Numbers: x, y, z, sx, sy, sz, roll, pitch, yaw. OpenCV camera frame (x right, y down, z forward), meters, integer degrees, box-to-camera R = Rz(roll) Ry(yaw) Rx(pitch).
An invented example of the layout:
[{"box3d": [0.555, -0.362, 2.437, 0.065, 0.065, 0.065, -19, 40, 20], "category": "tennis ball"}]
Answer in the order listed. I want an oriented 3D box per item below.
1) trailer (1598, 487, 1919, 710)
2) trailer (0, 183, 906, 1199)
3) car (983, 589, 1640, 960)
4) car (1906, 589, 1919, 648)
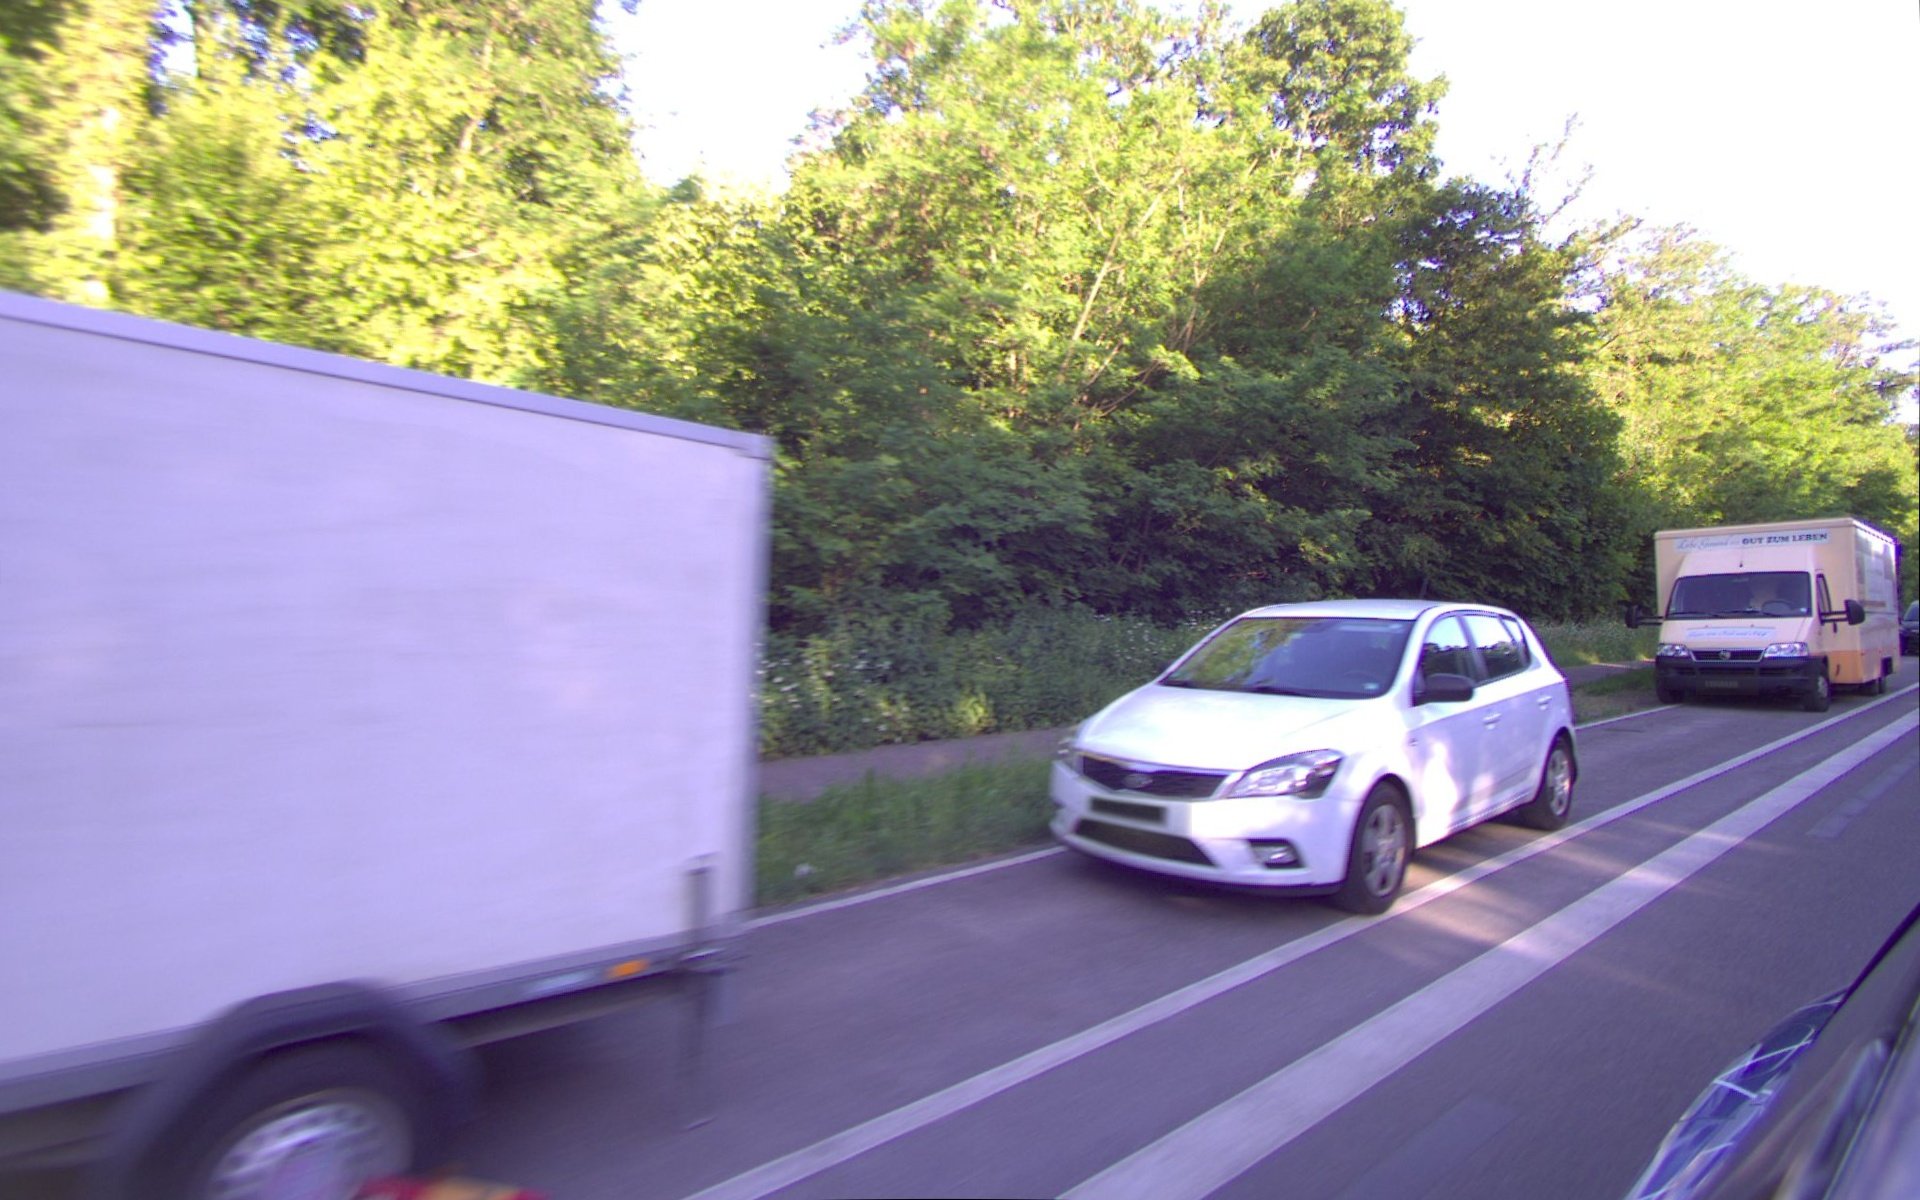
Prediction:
[{"box3d": [14.243, -0.041, 17.440, 9.714, 2.877, 2.924, -1, -1, -42], "category": "trailer"}, {"box3d": [-2.047, 0.359, 2.562, 3.479, 2.188, 1.757, 0, 1, -42], "category": "trailer"}, {"box3d": [2.431, 0.693, 6.295, 4.490, 1.486, 1.891, 0, 1, -41], "category": "car"}, {"box3d": [30.143, 0.522, 30.610, 4.522, 1.711, 1.802, -1, 1, -41], "category": "car"}]
